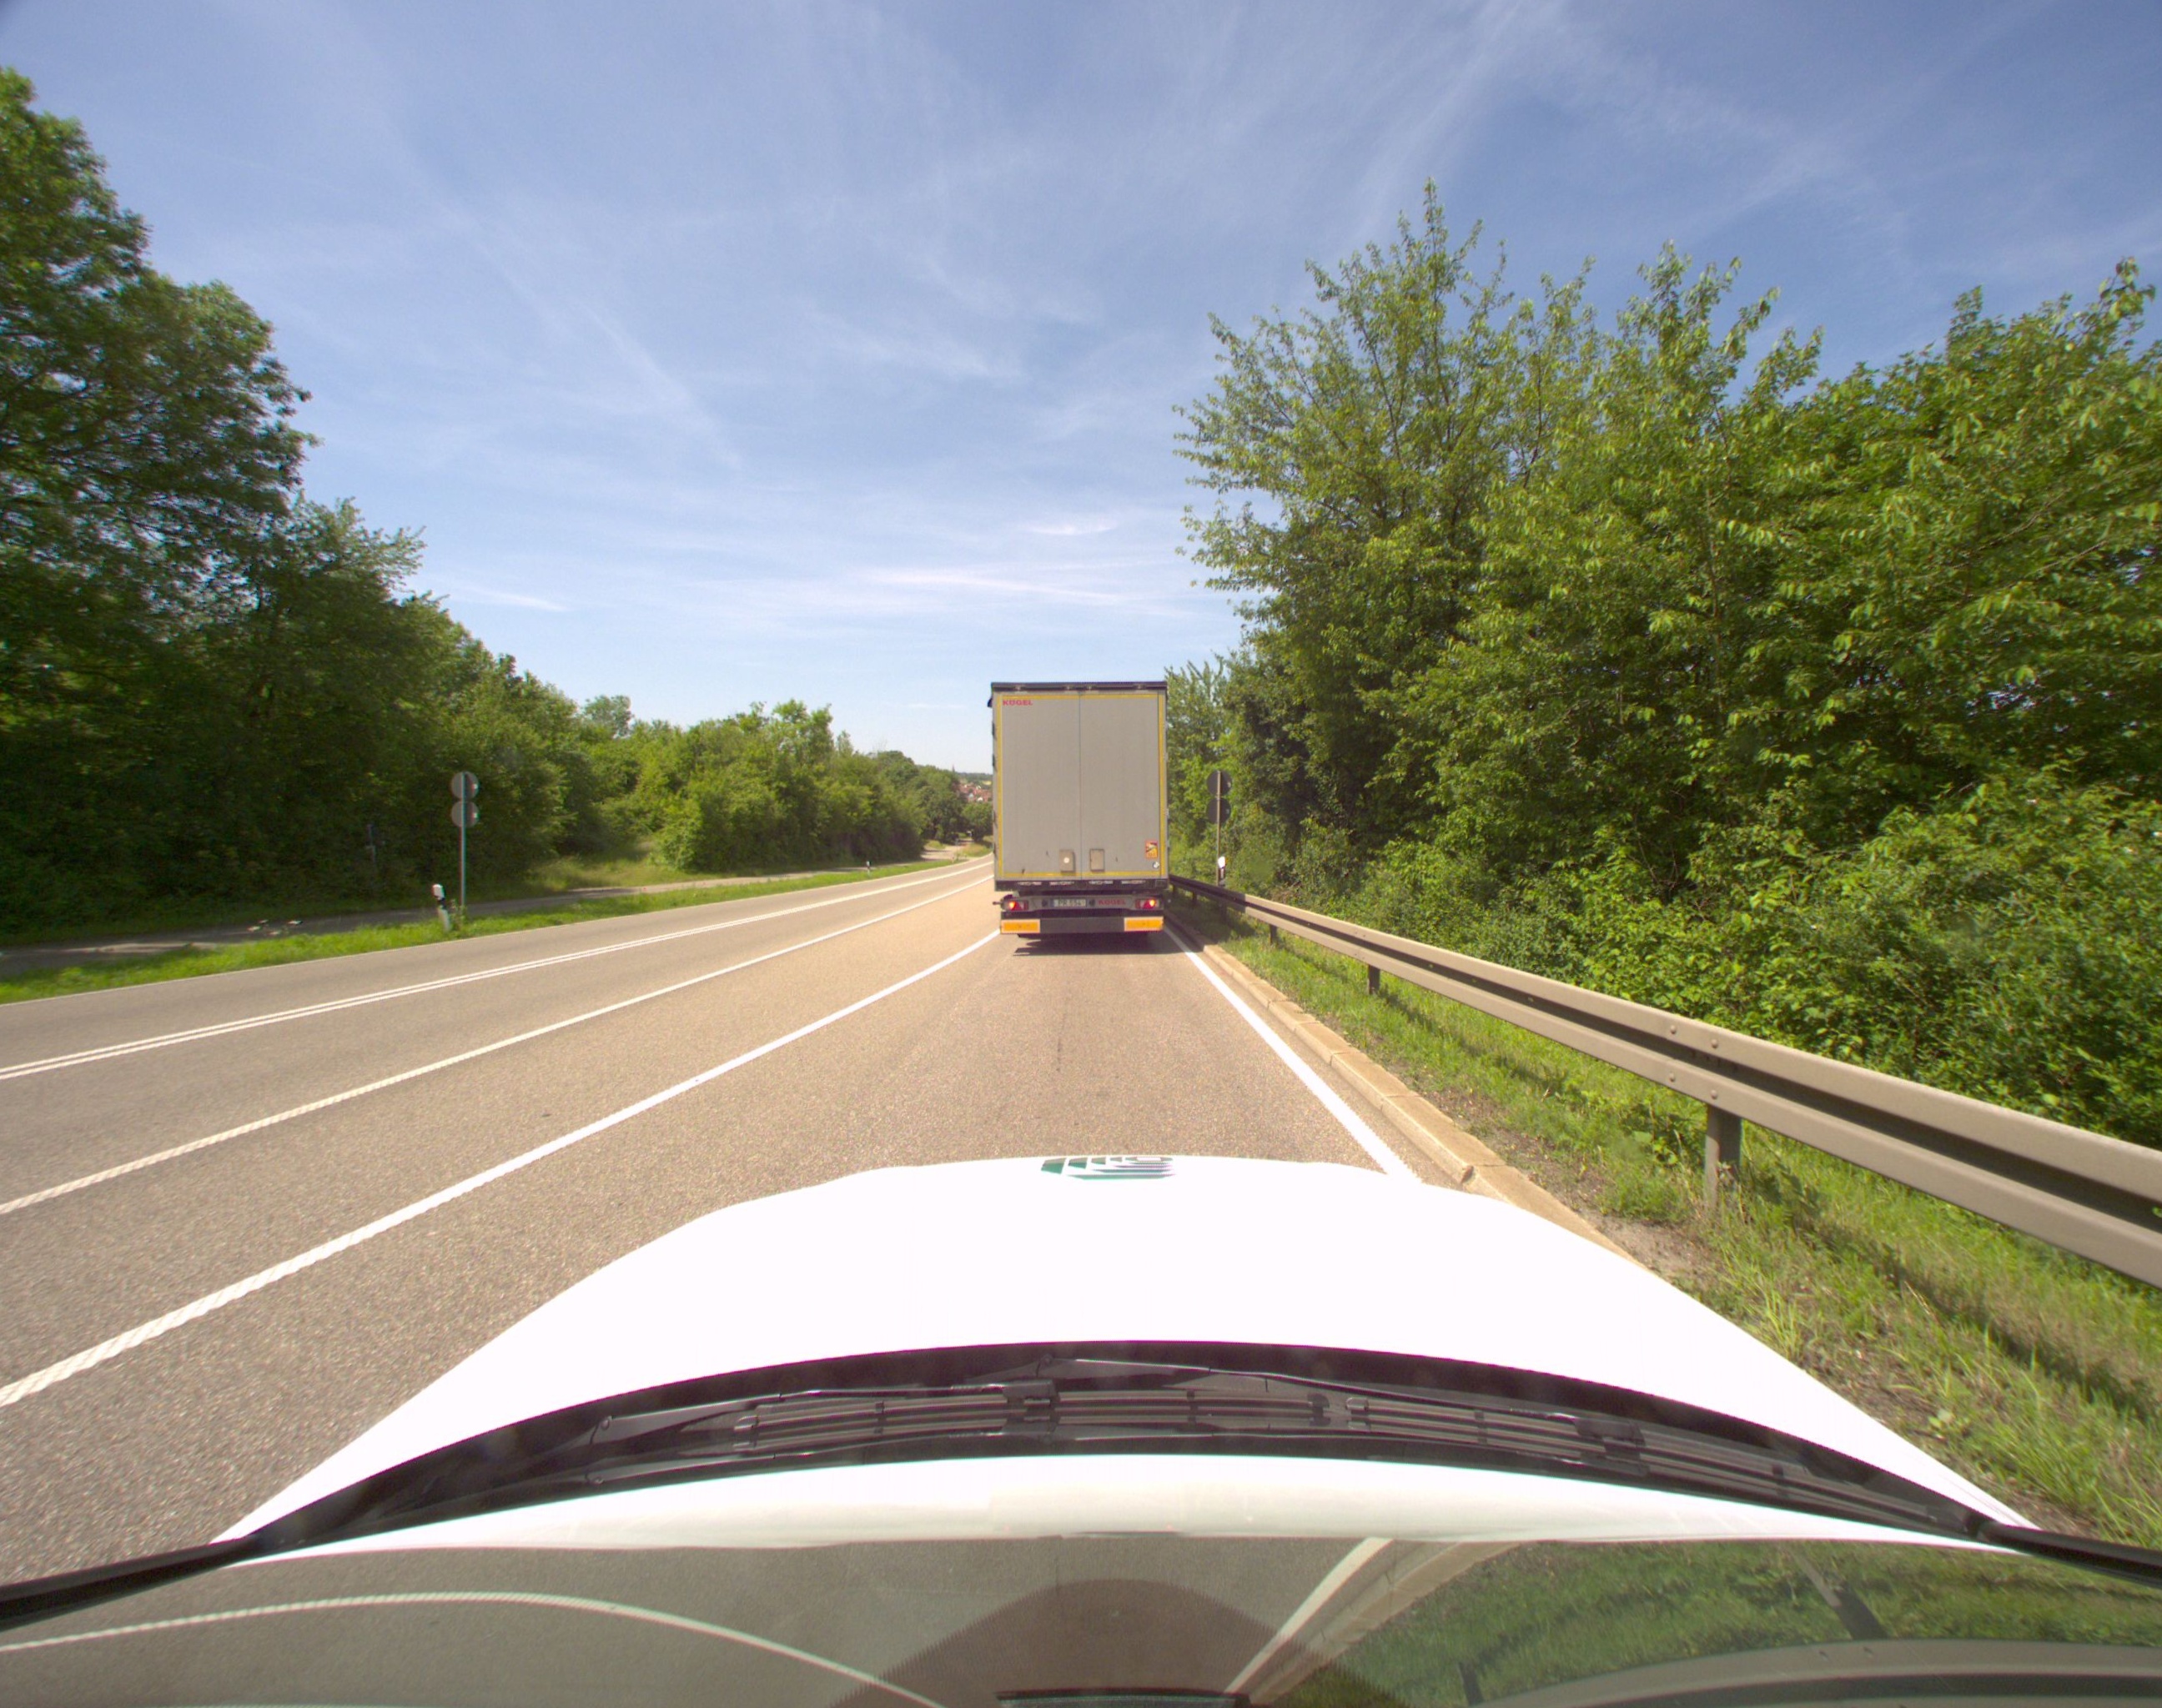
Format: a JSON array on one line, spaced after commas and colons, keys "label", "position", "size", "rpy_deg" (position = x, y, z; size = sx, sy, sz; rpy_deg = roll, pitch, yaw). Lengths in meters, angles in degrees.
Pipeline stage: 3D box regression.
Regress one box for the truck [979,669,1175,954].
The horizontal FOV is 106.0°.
[{"label": "truck", "position": [0.133, -0.641, 17.568], "size": [2.746, 4.029, 11.929], "rpy_deg": [-1, 0, 2]}]
